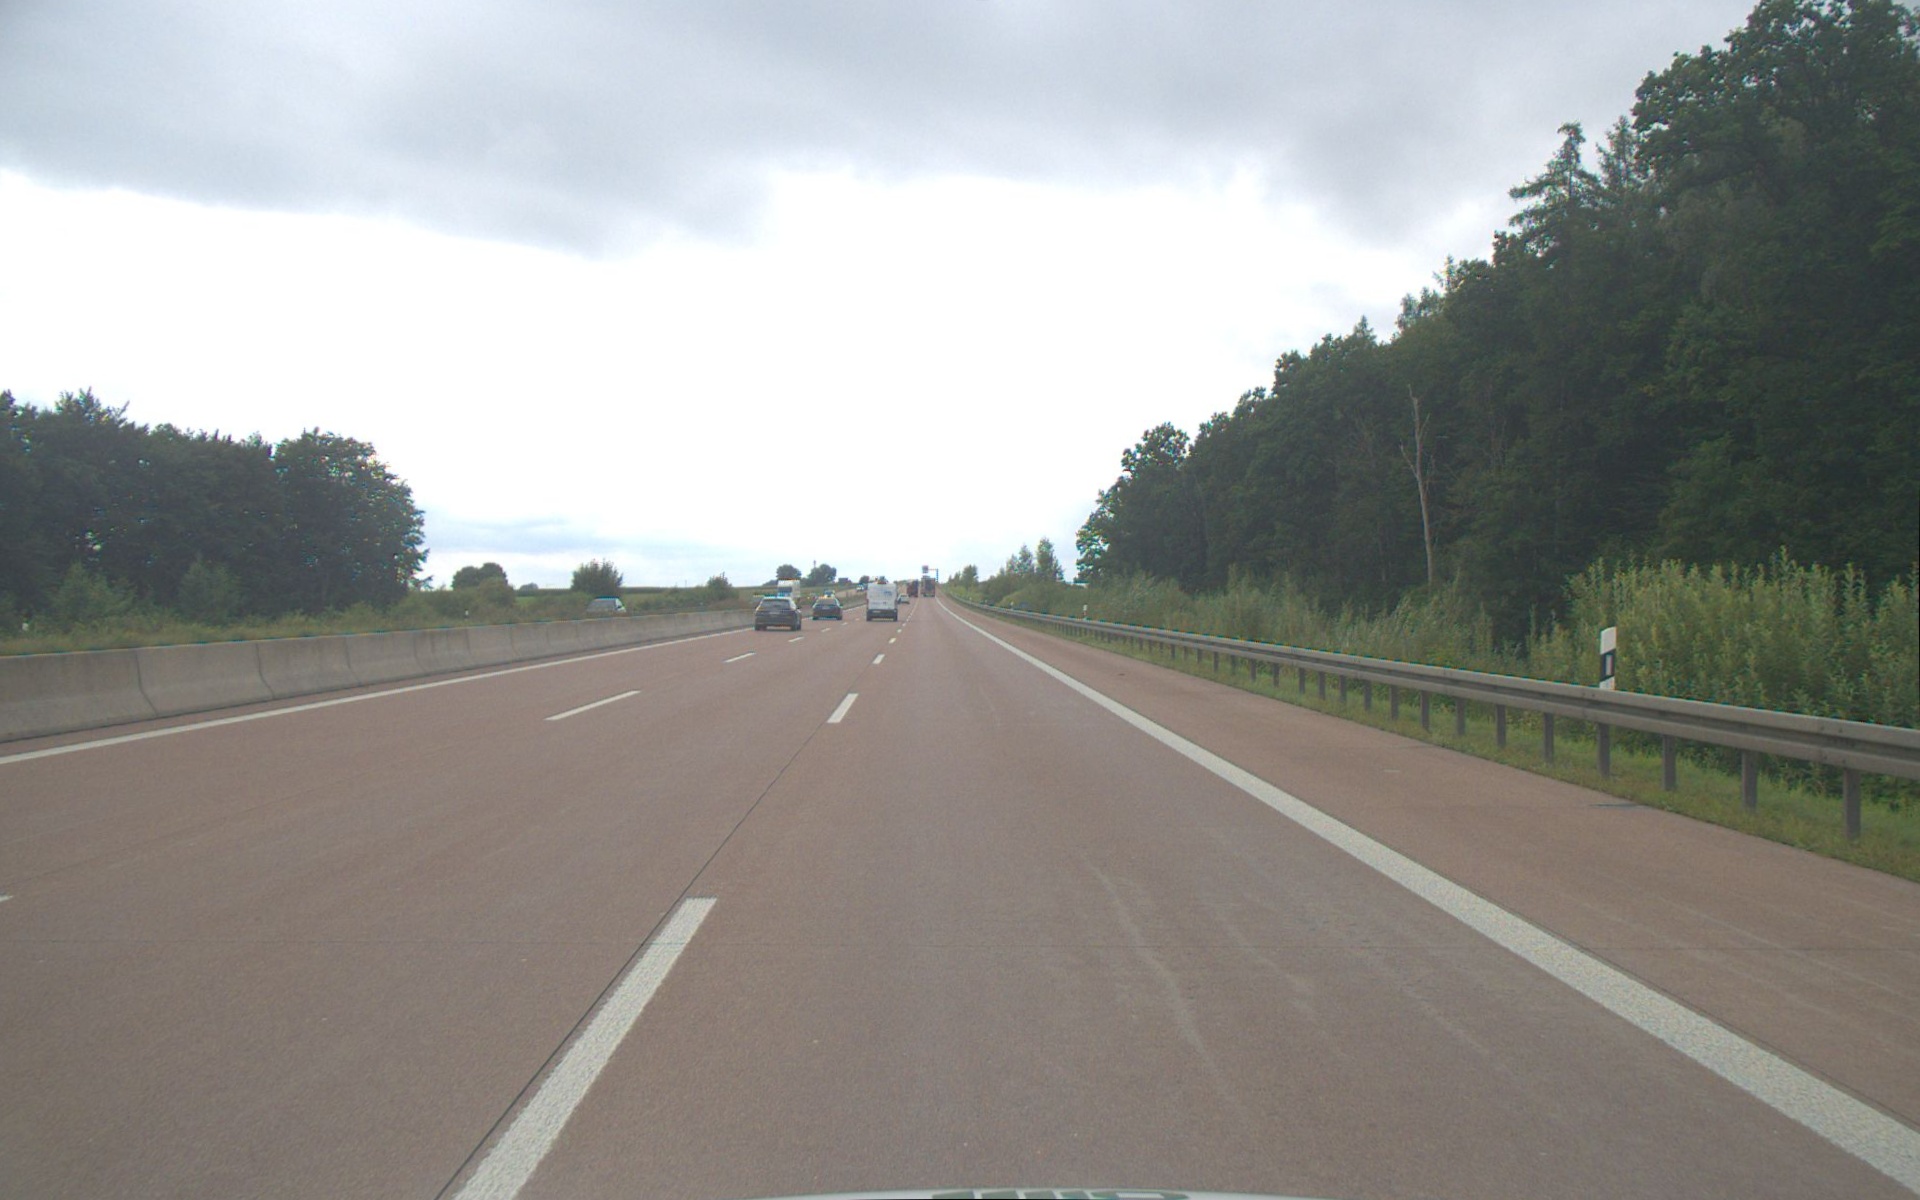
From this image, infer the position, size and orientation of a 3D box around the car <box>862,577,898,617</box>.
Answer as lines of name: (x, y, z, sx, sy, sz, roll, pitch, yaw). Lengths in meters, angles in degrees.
car: (-5.220, -0.236, 109.230, 2.094, 2.551, 7.131, 0, 1, -1)

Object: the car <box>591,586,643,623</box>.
car: (-18.940, 0.255, 91.559, 1.954, 1.794, 3.999, 6, 0, -1)

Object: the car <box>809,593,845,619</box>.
car: (-8.884, 0.388, 110.866, 2.043, 1.577, 5.673, 1, 1, -1)

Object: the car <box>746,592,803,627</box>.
car: (-8.337, 0.402, 74.754, 2.017, 1.517, 5.452, 1, 0, -1)
